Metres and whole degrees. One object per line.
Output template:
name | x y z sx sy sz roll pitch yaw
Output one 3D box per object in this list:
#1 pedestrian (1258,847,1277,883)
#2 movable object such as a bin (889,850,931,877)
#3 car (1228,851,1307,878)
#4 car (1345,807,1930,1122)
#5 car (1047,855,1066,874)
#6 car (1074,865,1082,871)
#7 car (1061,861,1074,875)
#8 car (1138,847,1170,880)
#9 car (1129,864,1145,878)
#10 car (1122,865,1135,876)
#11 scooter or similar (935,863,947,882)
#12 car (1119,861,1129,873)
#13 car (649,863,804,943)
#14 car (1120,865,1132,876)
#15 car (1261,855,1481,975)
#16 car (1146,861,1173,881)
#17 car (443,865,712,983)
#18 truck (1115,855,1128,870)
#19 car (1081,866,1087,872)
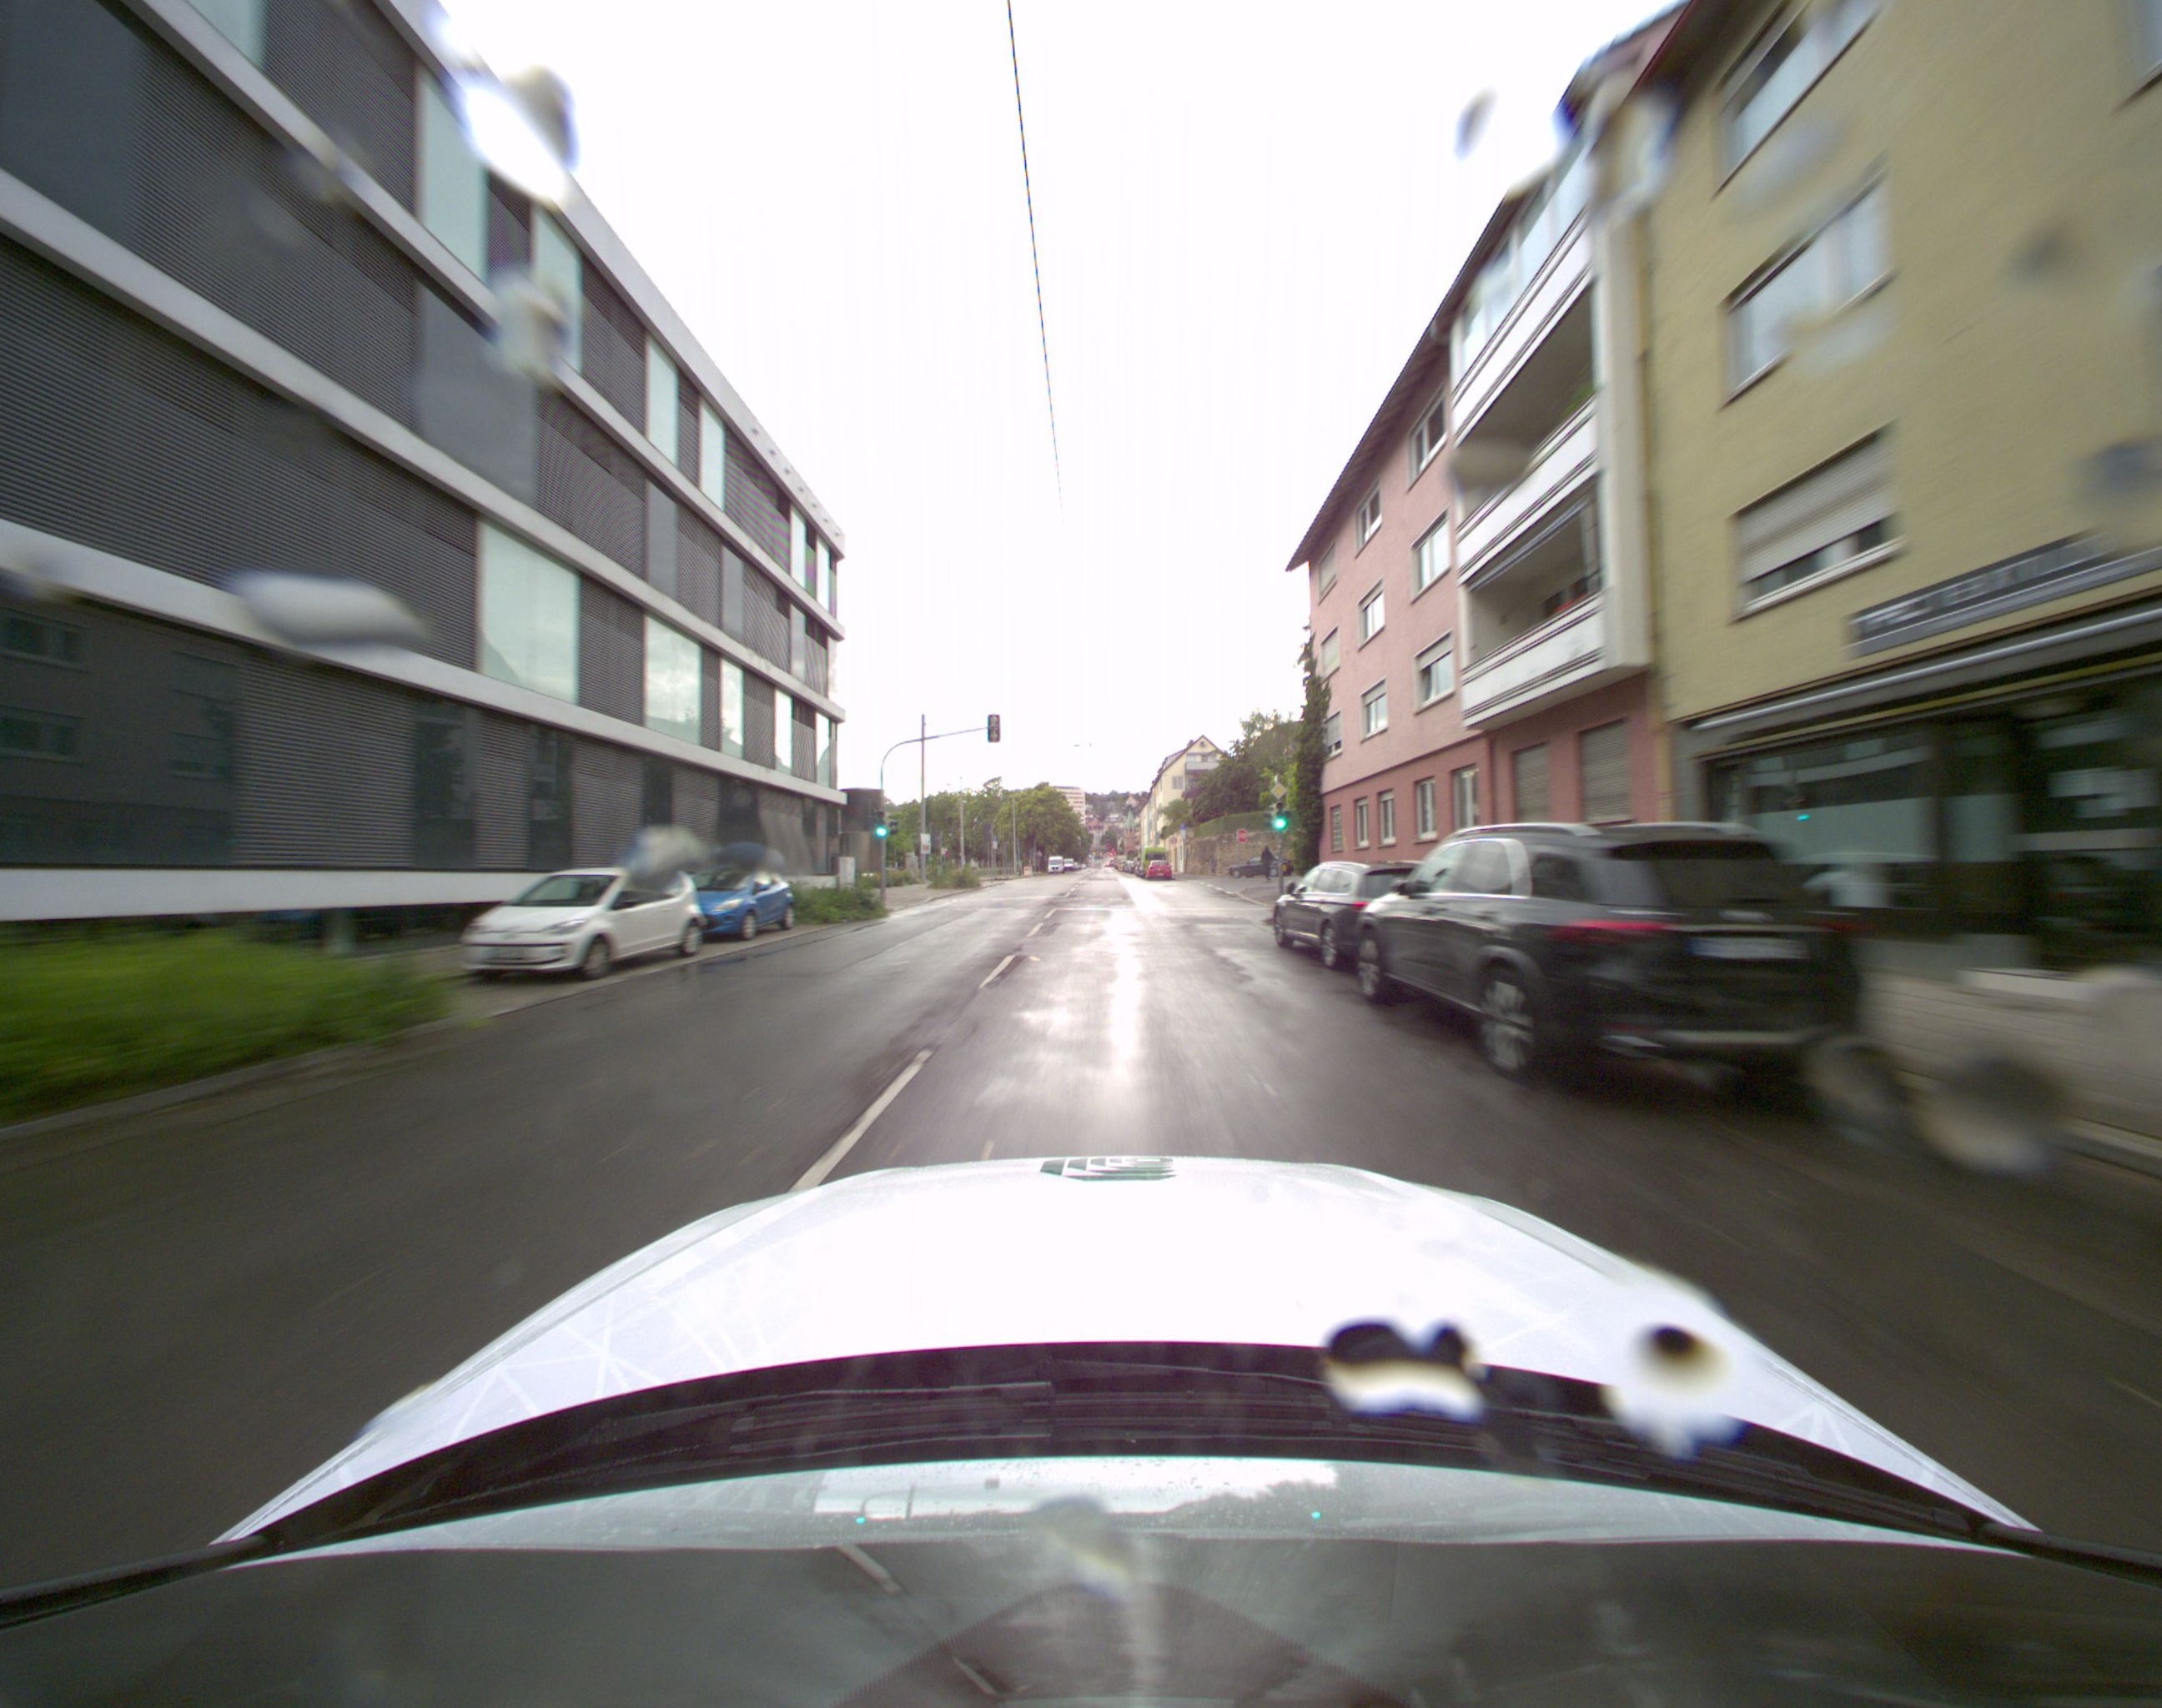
pedestrian | 9.240 0.540 40.381 0.720 1.715 0.905 -2 -1 2
movable object such as a bin | -16.030 0.936 76.195 1.679 2.459 5.228 0 -1 -38
car | 11.033 0.641 48.290 4.223 1.393 1.763 -5 -4 43
car | 3.893 0.638 6.895 1.956 1.774 4.514 -1 0 2
car | -3.437 1.478 114.753 2.222 2.579 6.537 -2 -1 1
car | -0.765 3.580 210.006 1.797 1.451 4.656 -1 -2 -1
car | -2.500 2.647 153.554 2.004 2.487 5.986 -2 -1 2
car | 5.801 0.743 65.076 2.197 2.463 6.082 1 -1 2
car | 6.451 1.936 93.326 1.623 1.454 3.760 1 -1 1
car | 6.533 2.207 112.523 1.553 1.454 3.760 1 -1 1
scooter or similar | -9.147 1.213 53.246 0.494 1.248 1.232 0 -2 3
car | 7.751 2.334 146.401 1.710 2.238 4.000 1 -1 1
car | -7.202 0.929 16.934 1.632 1.466 3.583 -1 -1 0
car | 6.484 2.389 117.652 1.710 1.524 4.000 1 -1 1
car | 4.214 0.794 12.685 1.787 1.520 4.511 -1 0 0
car | 5.589 1.195 58.325 1.714 1.421 4.205 1 -1 3
car | -7.187 0.912 12.096 1.631 1.466 3.586 -1 -1 3
truck | 8.600 1.803 173.469 2.460 3.172 7.038 -1 -1 2
car | 0.818 4.084 225.049 1.704 1.451 4.294 -1 -2 1
